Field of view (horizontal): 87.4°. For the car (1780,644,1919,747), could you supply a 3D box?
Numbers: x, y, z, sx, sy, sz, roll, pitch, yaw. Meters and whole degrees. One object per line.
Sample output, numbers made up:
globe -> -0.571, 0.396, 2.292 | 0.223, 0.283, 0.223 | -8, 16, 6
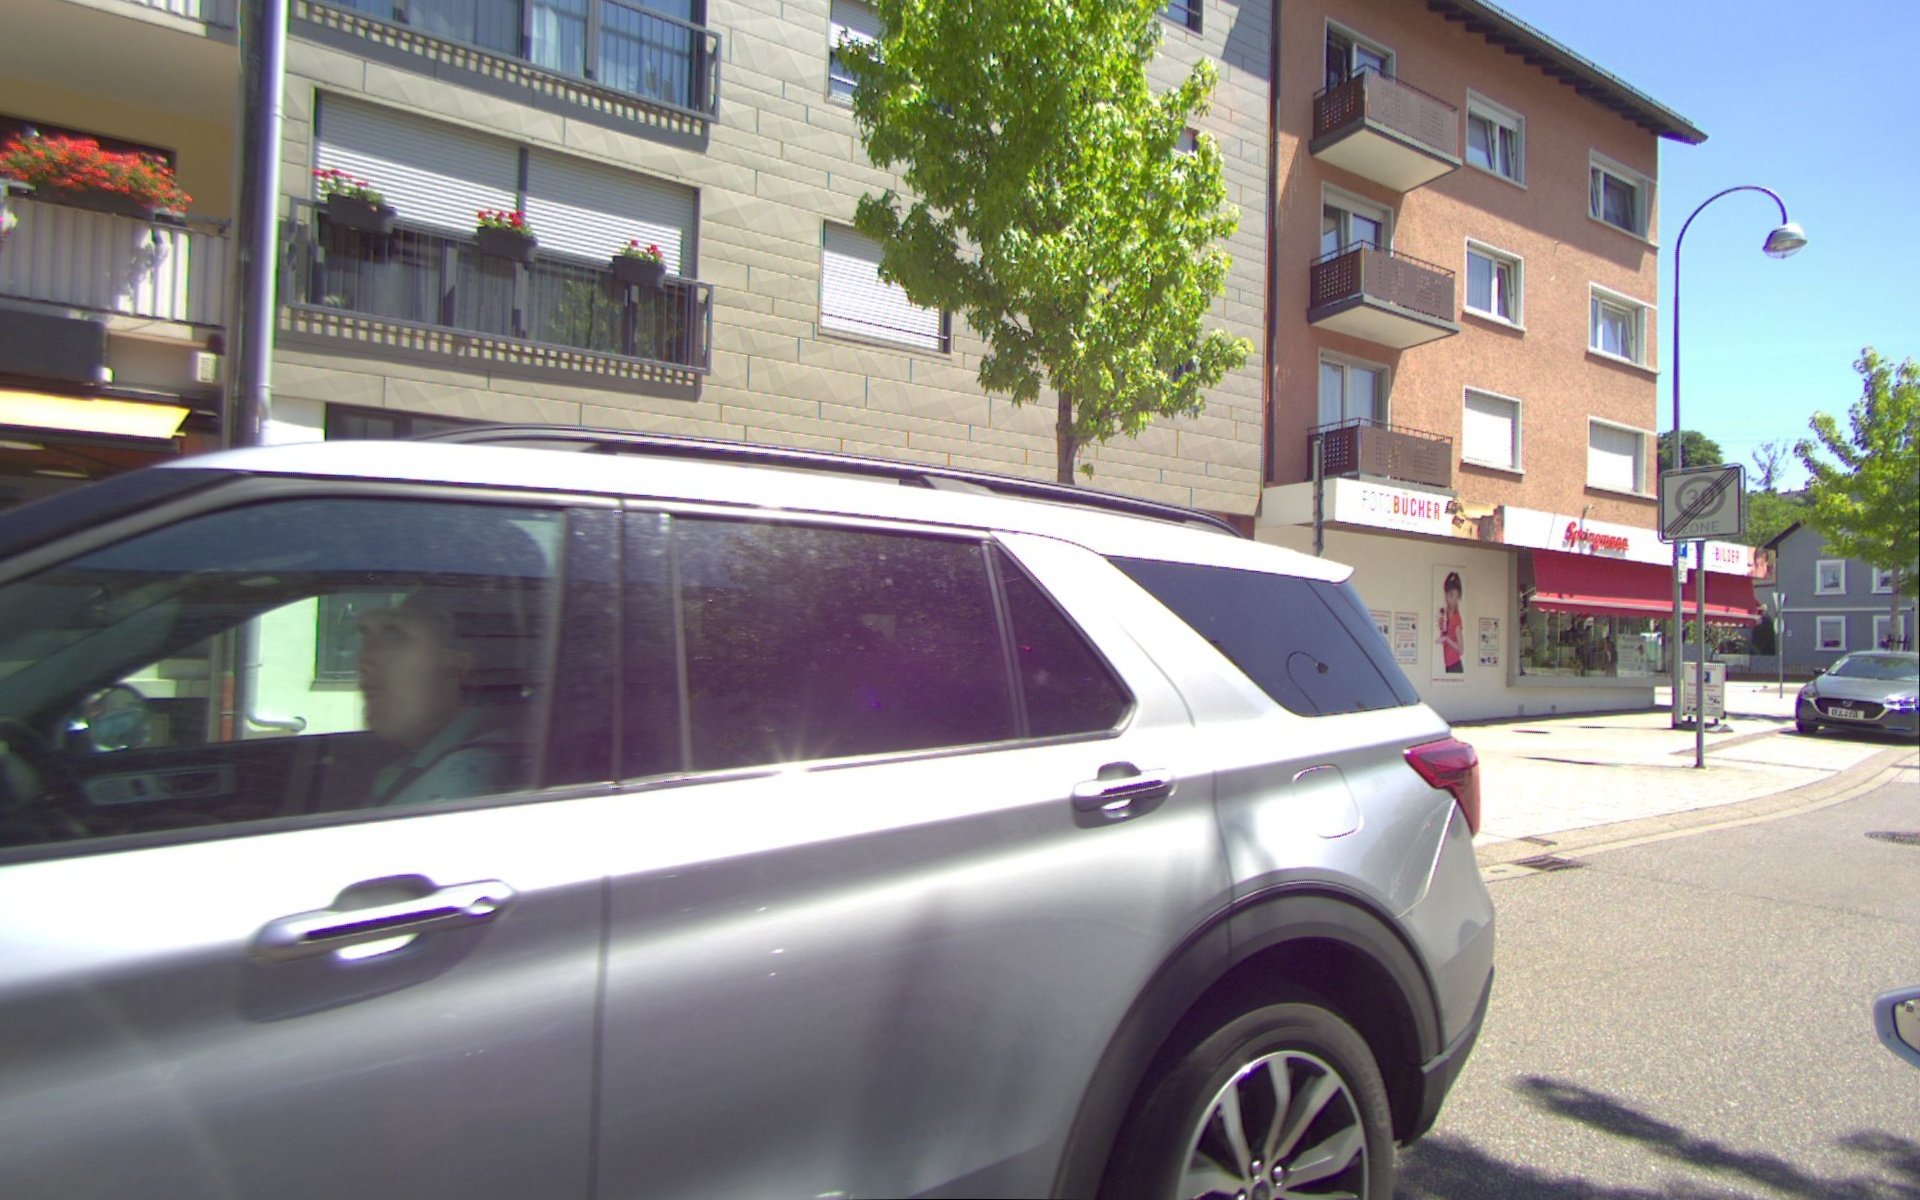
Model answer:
car -> 16.030, 1.582, 17.451 | 4.019, 1.506, 1.656 | 2, 0, -34

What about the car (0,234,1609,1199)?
car -> -0.903, 0.616, 1.922 | 4.707, 1.777, 1.890 | 2, -3, -33

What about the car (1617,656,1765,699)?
car -> 28.054, 2.947, 38.649 | 1.756, 1.476, 4.382 | 3, -3, -43
